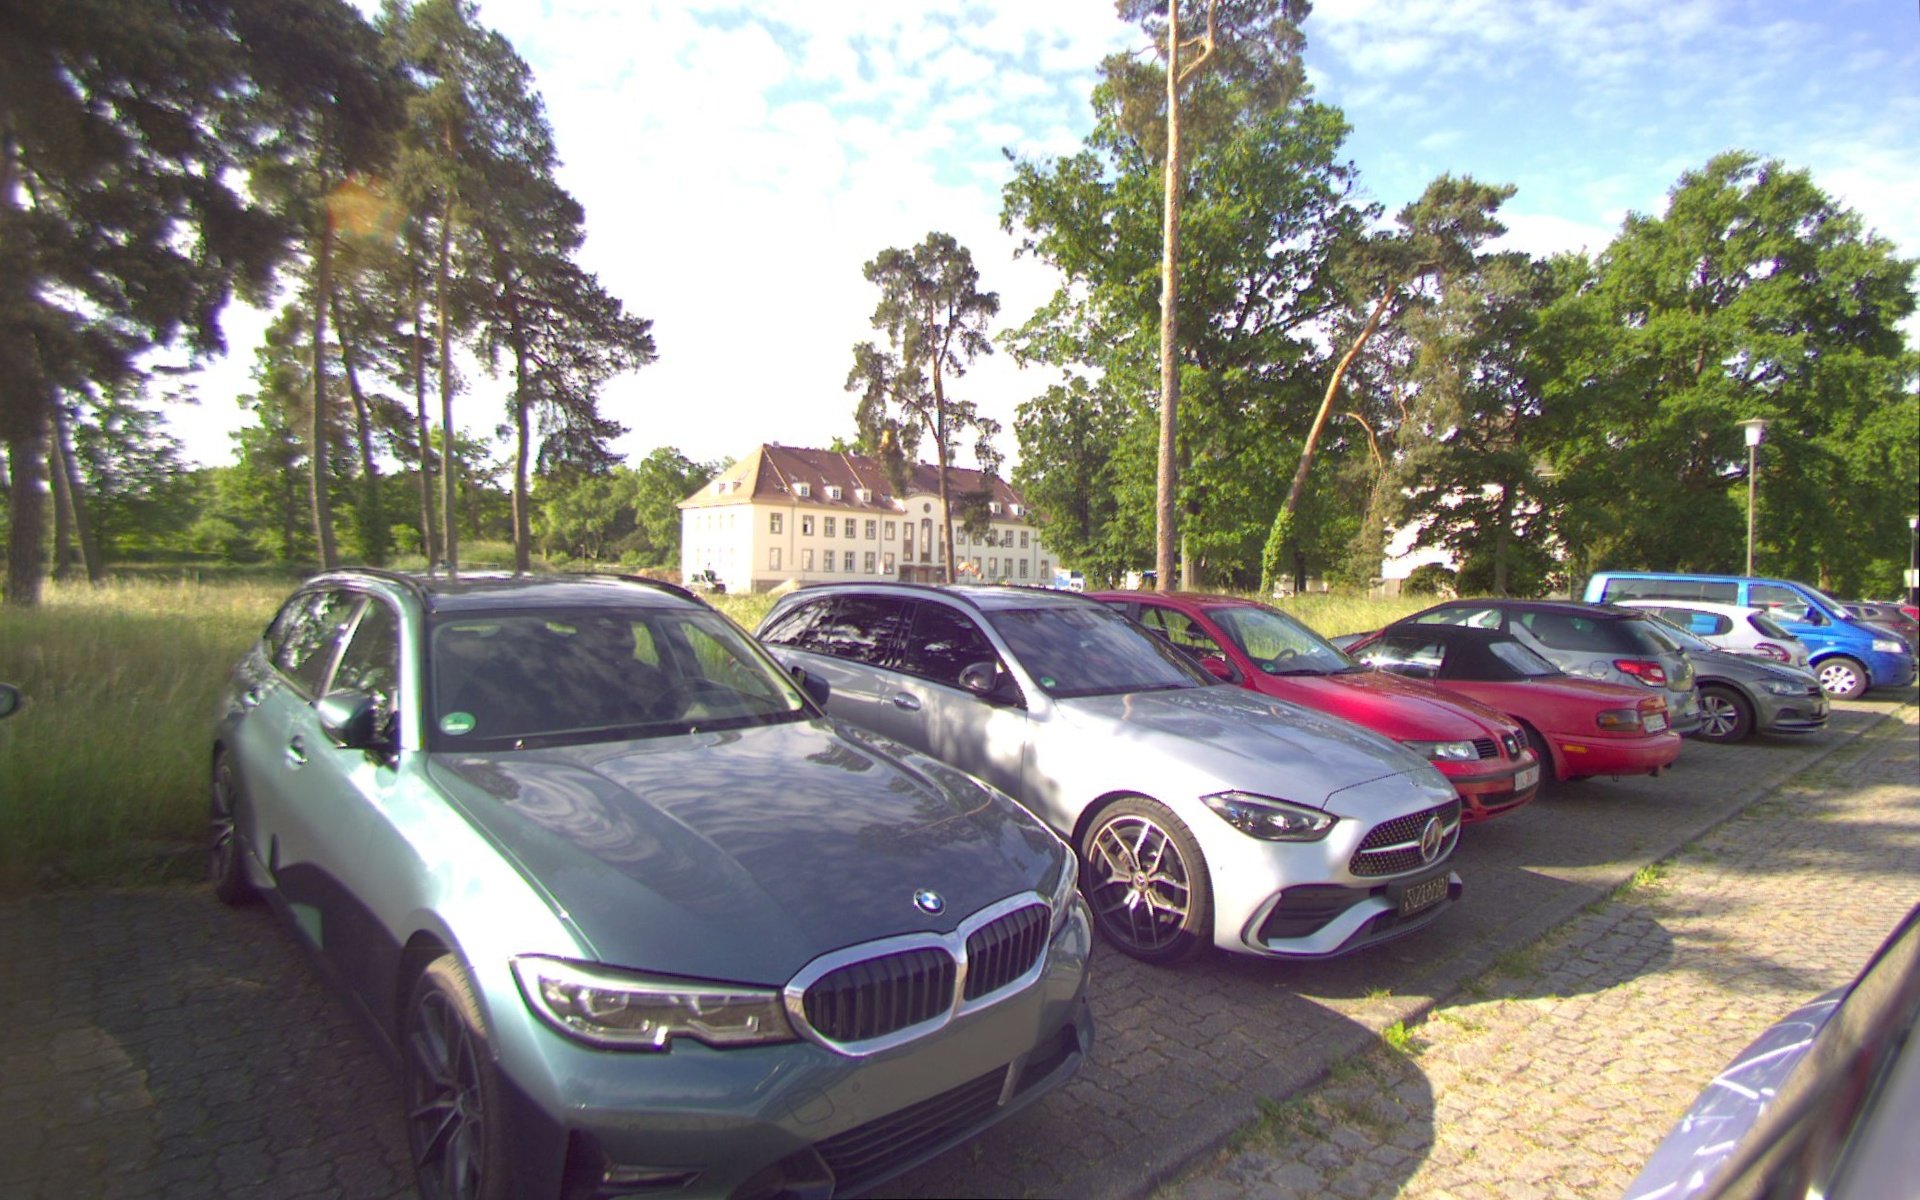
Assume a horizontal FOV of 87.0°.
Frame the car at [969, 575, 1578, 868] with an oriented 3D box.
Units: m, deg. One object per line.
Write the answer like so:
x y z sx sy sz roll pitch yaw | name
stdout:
1.995 0.605 7.344 1.632 1.410 3.915 0 3 -42 | car

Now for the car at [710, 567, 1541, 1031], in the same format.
0.491 0.621 5.667 1.795 1.419 4.420 0 3 -42 | car

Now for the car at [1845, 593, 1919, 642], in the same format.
35.405 0.637 37.257 1.724 1.763 3.996 0 0 -38 | car

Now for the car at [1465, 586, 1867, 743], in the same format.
8.184 0.628 12.065 1.478 1.509 3.630 0 1 -31 | car

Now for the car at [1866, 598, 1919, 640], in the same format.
38.969 0.750 40.335 1.724 1.635 3.997 -1 0 -37 | car

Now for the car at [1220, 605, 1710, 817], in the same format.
4.001 0.742 8.401 1.395 1.271 3.354 0 2 -42 | car

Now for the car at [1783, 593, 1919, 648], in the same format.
27.818 0.599 30.801 1.725 1.537 3.998 0 2 -38 | car

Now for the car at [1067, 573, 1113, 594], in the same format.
13.260 -1.720 103.223 4.689 2.039 1.997 0 1 -41 | car

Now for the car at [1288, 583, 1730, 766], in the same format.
5.570 0.615 10.635 1.522 1.509 3.776 0 2 -42 | car

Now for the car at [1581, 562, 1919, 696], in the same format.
13.932 0.376 17.801 1.964 2.038 4.726 0 2 -40 | car

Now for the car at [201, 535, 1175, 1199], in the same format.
-1.571 0.556 4.053 1.796 1.535 4.499 0 3 -44 | car

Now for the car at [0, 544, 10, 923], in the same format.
-3.520 0.585 2.303 1.839 1.478 4.023 0 2 -41 | car

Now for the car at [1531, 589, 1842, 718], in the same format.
10.056 0.651 14.184 1.423 1.509 3.265 0 2 -39 | car

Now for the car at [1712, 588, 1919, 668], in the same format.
20.362 0.590 23.788 1.725 1.660 3.998 0 2 -38 | car
